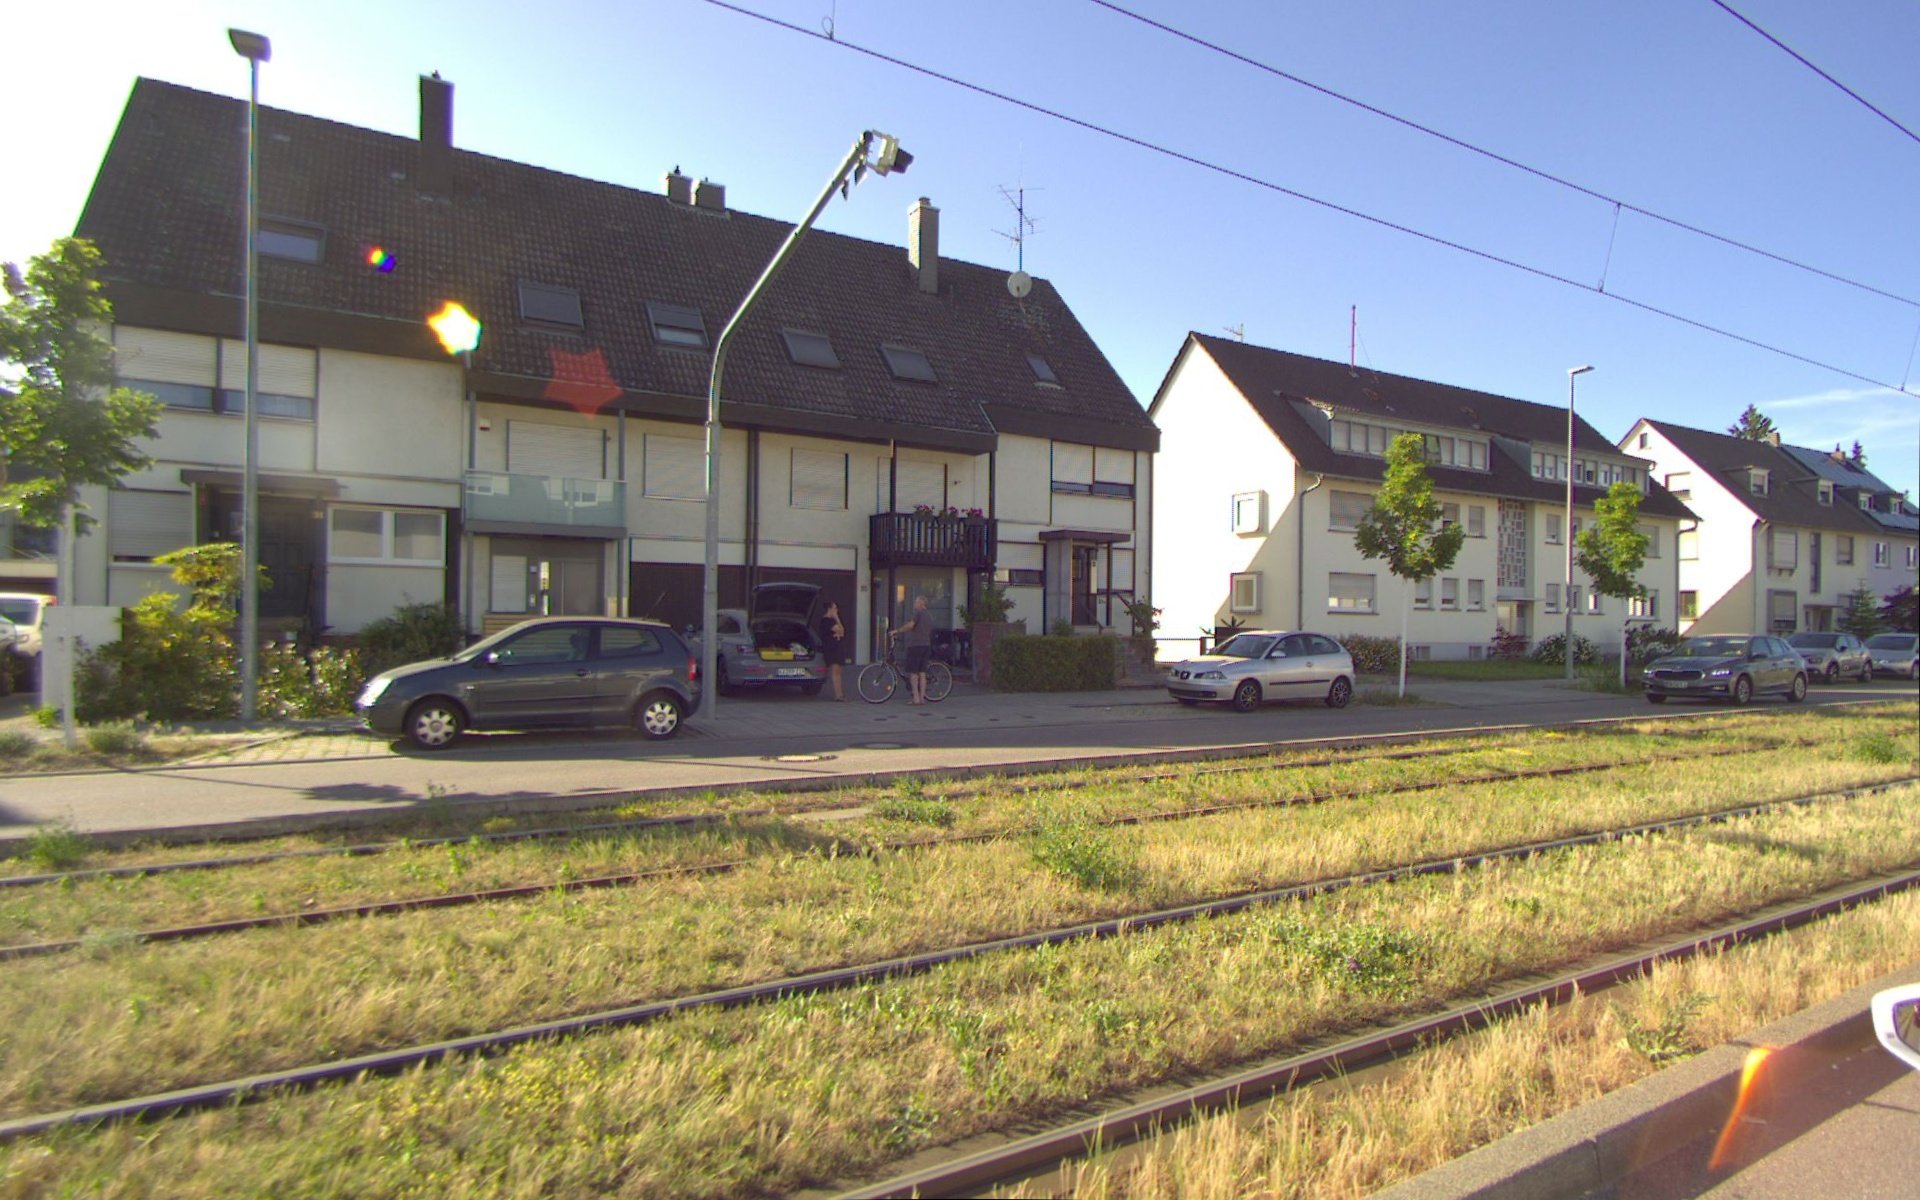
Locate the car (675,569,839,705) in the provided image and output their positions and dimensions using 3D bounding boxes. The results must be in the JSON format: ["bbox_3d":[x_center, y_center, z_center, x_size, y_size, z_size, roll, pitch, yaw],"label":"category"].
[{"bbox_3d":[-3.907,0.561,18.682,1.765,2.108,4.442,2,2,-28],"label":"car"}]

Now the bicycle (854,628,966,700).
[{"bbox_3d":[-0.857,1.100,17.380,1.845,1.178,0.476,2,0,-24],"label":"bicycle"}]

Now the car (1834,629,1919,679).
[{"bbox_3d":[30.764,1.769,33.062,4.391,1.495,1.680,2,0,-31],"label":"car"}]

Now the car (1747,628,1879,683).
[{"bbox_3d":[25.613,1.647,30.135,4.265,1.492,1.680,2,0,-31],"label":"car"}]

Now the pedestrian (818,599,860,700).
[{"bbox_3d":[-2.099,0.846,17.386,0.613,1.710,0.551,2,0,-14],"label":"pedestrian"}]

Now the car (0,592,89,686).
[{"bbox_3d":[-17.634,0.665,18.638,1.492,1.614,3.817,1,-1,-30],"label":"car"}]

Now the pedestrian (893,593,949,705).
[{"bbox_3d":[-0.661,0.821,17.050,0.673,1.839,0.610,2,1,-38],"label":"pedestrian"}]

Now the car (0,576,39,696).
[{"bbox_3d":[-15.138,0.532,14.332,1.946,1.807,4.373,1,0,-29],"label":"car"}]

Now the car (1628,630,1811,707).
[{"bbox_3d":[16.159,1.440,21.330,4.036,1.494,1.681,2,-4,-31],"label":"car"}]

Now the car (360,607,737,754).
[{"bbox_3d":[-4.958,0.896,12.335,4.034,1.532,1.612,1,0,-29],"label":"car"}]

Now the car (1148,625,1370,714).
[{"bbox_3d":[5.618,1.239,18.760,4.055,1.455,1.650,1,0,-31],"label":"car"}]
